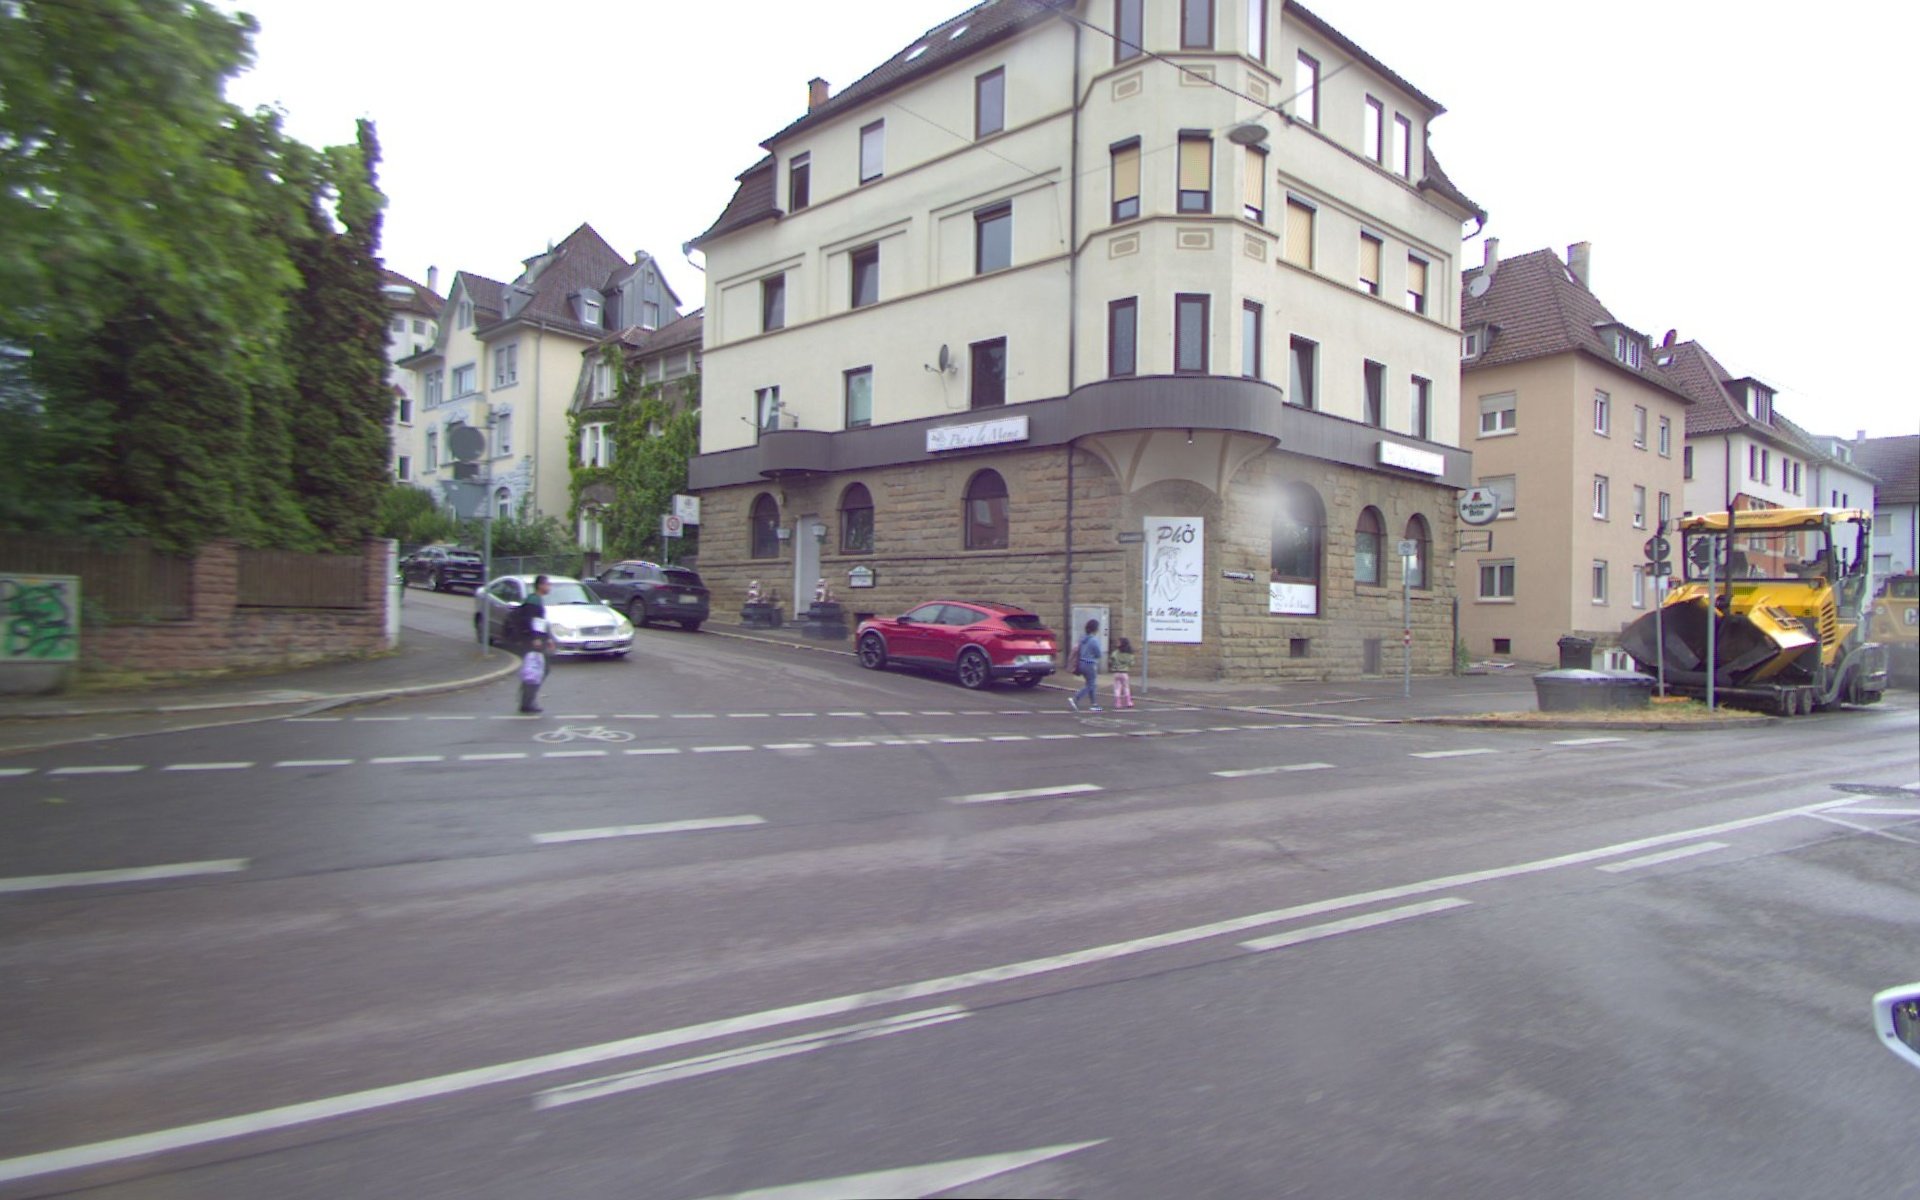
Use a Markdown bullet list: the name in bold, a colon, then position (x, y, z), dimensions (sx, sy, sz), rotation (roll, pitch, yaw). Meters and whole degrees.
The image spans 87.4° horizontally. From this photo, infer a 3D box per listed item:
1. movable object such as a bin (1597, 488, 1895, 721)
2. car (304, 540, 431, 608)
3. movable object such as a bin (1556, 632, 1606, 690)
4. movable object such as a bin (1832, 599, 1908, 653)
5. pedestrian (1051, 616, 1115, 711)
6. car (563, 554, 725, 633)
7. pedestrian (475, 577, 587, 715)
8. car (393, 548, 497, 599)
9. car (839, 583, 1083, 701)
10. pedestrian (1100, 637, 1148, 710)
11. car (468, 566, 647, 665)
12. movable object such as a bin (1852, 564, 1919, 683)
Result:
- **movable object such as a bin**: position (15.428, 0.041, 19.642), dimensions (5.921, 3.908, 2.759), rotation (-1, 1, -33)
- **car**: position (-15.823, -0.728, 26.747), dimensions (4.207, 1.404, 1.876), rotation (9, 6, 44)
- **movable object such as a bin**: position (14.319, 1.383, 23.203), dimensions (0.877, 1.239, 1.202), rotation (1, 1, 27)
- **movable object such as a bin**: position (47.992, 1.312, 52.967), dimensions (4.581, 2.719, 1.980), rotation (-1, 1, -35)
- **pedestrian**: position (1.958, 0.988, 15.946), dimensions (0.768, 1.420, 0.806), rotation (1, 1, 27)
- **car**: position (-8.479, -0.227, 26.744), dimensions (4.479, 1.595, 2.067), rotation (8, 6, 41)
- **pedestrian**: position (-5.384, 0.539, 12.632), dimensions (0.876, 1.652, 0.991), rotation (1, 2, 37)
- **car**: position (-18.371, -0.978, 35.763), dimensions (4.204, 1.404, 1.877), rotation (8, 6, 41)
- **car**: position (-0.082, 0.681, 19.297), dimensions (4.479, 1.595, 1.926), rotation (8, 6, 41)
- **pedestrian**: position (2.706, 1.195, 16.623), dimensions (0.717, 1.139, 0.744), rotation (0, 1, 5)
- **car**: position (-7.669, 0.209, 18.903), dimensions (1.872, 1.404, 4.215), rotation (0, 5, -41)
- **movable object such as a bin**: position (27.574, 0.688, 28.250), dimensions (4.085, 3.215, 2.852), rotation (2, 0, -36)
